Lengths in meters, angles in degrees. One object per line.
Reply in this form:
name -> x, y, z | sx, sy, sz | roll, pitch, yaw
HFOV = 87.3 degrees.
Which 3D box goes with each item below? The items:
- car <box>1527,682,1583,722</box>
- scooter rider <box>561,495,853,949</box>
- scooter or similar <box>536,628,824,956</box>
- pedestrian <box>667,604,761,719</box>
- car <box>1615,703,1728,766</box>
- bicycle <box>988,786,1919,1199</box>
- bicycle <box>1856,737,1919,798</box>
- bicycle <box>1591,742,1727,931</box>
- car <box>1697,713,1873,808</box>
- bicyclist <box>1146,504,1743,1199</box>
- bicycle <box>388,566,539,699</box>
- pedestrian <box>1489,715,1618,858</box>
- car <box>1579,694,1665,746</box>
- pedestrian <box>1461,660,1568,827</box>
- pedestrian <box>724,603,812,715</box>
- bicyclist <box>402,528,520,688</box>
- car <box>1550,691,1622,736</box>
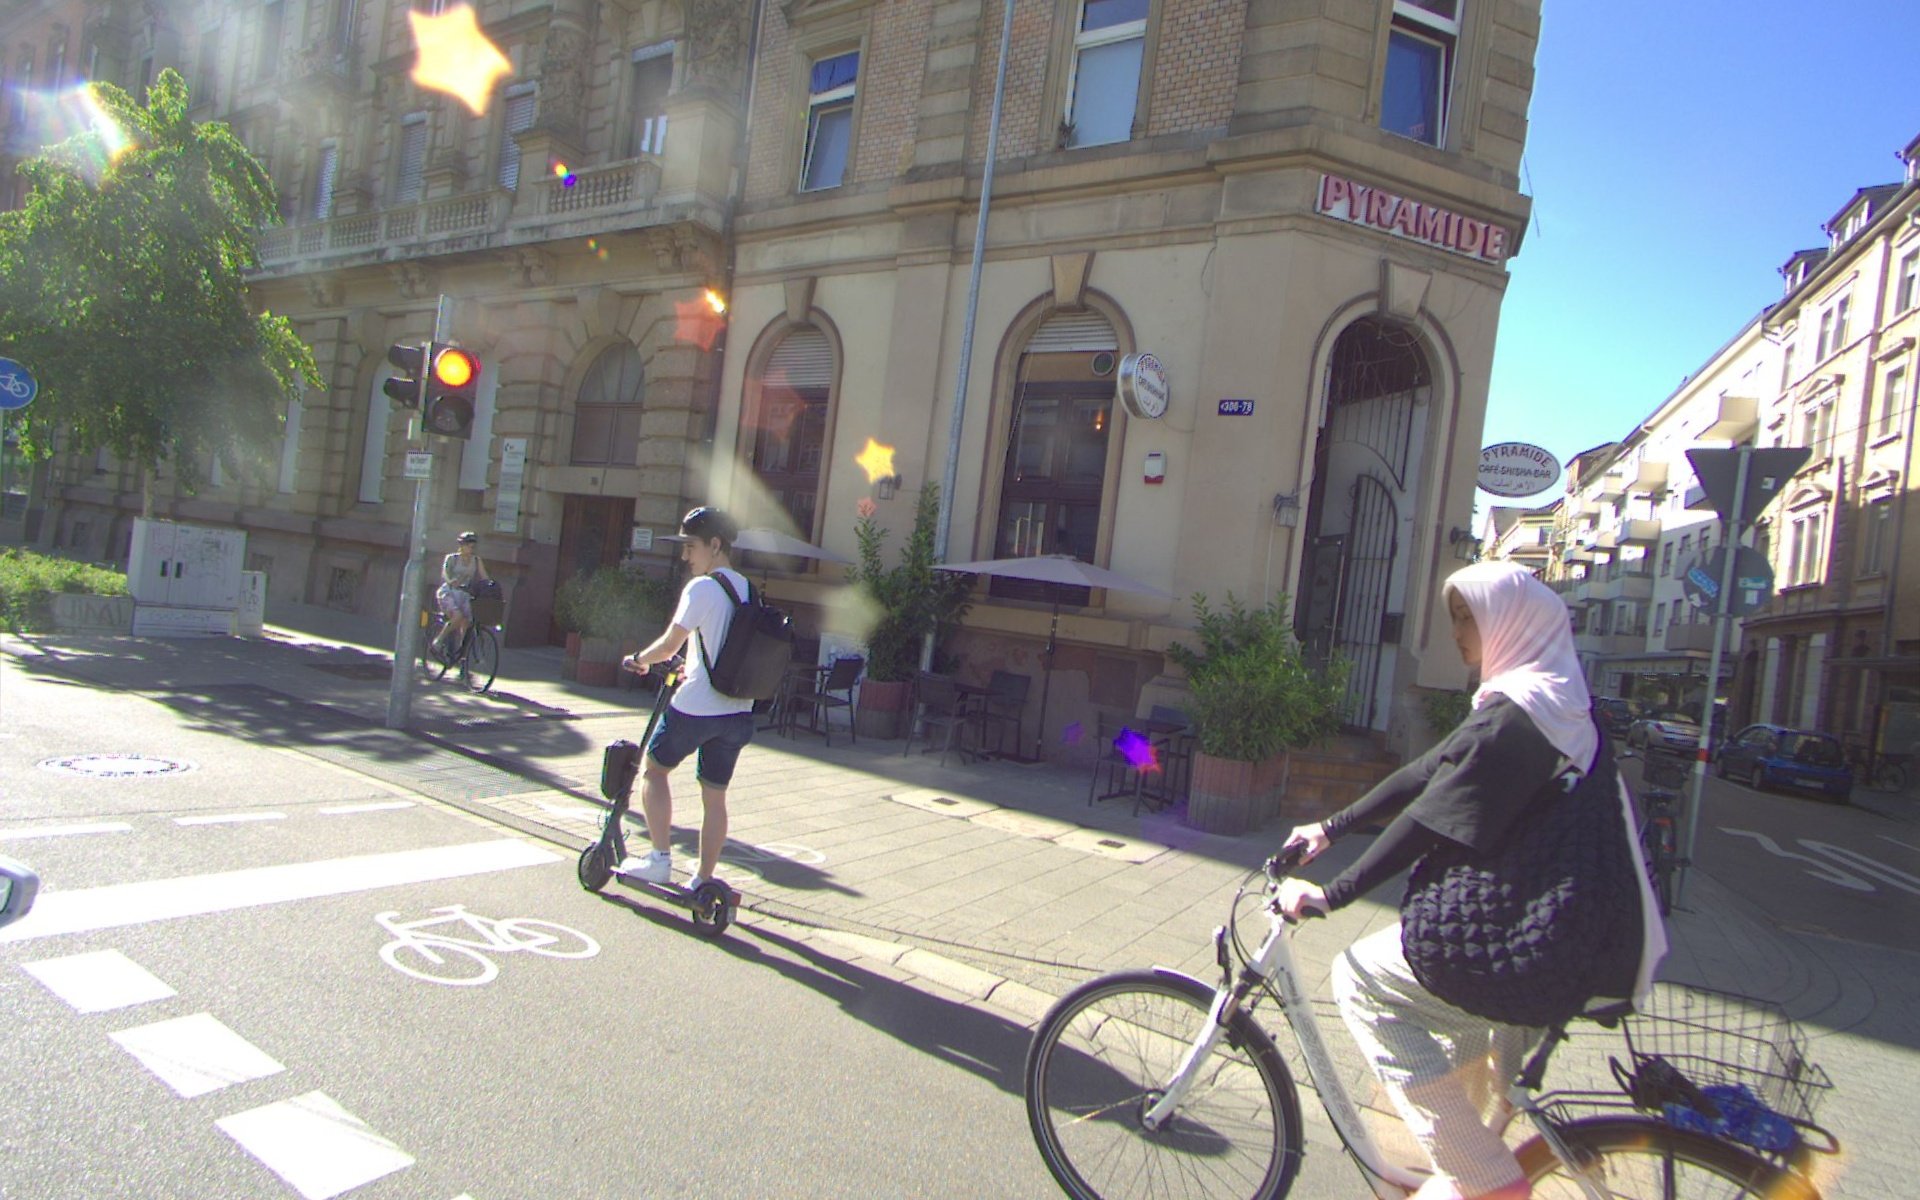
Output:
car -> 30.110, 5.134, 51.013 | 1.769, 1.685, 3.772 | 7, -1, 23
scooter rider -> -1.184, 0.523, 4.750 | 0.886, 1.882, 0.668 | 7, -1, 31
scooter or similar -> -1.324, 0.838, 4.718 | 1.151, 1.240, 0.492 | 7, -2, 31
pedestrian -> -2.787, 0.689, 11.414 | 0.624, 1.193, 0.706 | 7, 2, 31
car -> 21.757, 4.071, 30.947 | 1.769, 1.350, 4.000 | 9, 0, 22
bicycle -> 1.013, 1.148, 2.222 | 1.762, 1.105, 0.558 | 7, -2, 31
bicycle -> 22.159, 3.946, 23.458 | 0.621, 1.192, 2.014 | 7, 0, 1
bicycle -> 5.689, 1.841, 8.206 | 0.643, 1.186, 1.818 | 11, 2, 35
car -> 18.473, 3.528, 22.765 | 1.769, 1.437, 4.000 | 9, 0, 22
bicyclist -> 1.030, 0.743, 2.234 | 0.854, 1.731, 0.781 | 7, -2, 31
bicycle -> -5.586, 0.345, 11.272 | 1.870, 1.238, 0.583 | 7, 1, 35
pedestrian -> 6.042, 1.870, 10.299 | 0.917, 1.228, 0.852 | 7, -1, 25
car -> 24.066, 4.311, 36.709 | 1.769, 1.449, 3.773 | 7, -1, 22
pedestrian -> 6.578, 1.674, 11.990 | 0.852, 1.781, 0.909 | 7, -1, 25
pedestrian -> -2.323, 0.707, 12.184 | 0.624, 1.252, 0.706 | 7, 2, 31
bicyclist -> -5.593, 0.087, 11.268 | 0.945, 1.659, 0.666 | 7, 1, 36
car -> 25.847, 4.651, 41.653 | 1.769, 1.449, 3.773 | 7, -1, 22
